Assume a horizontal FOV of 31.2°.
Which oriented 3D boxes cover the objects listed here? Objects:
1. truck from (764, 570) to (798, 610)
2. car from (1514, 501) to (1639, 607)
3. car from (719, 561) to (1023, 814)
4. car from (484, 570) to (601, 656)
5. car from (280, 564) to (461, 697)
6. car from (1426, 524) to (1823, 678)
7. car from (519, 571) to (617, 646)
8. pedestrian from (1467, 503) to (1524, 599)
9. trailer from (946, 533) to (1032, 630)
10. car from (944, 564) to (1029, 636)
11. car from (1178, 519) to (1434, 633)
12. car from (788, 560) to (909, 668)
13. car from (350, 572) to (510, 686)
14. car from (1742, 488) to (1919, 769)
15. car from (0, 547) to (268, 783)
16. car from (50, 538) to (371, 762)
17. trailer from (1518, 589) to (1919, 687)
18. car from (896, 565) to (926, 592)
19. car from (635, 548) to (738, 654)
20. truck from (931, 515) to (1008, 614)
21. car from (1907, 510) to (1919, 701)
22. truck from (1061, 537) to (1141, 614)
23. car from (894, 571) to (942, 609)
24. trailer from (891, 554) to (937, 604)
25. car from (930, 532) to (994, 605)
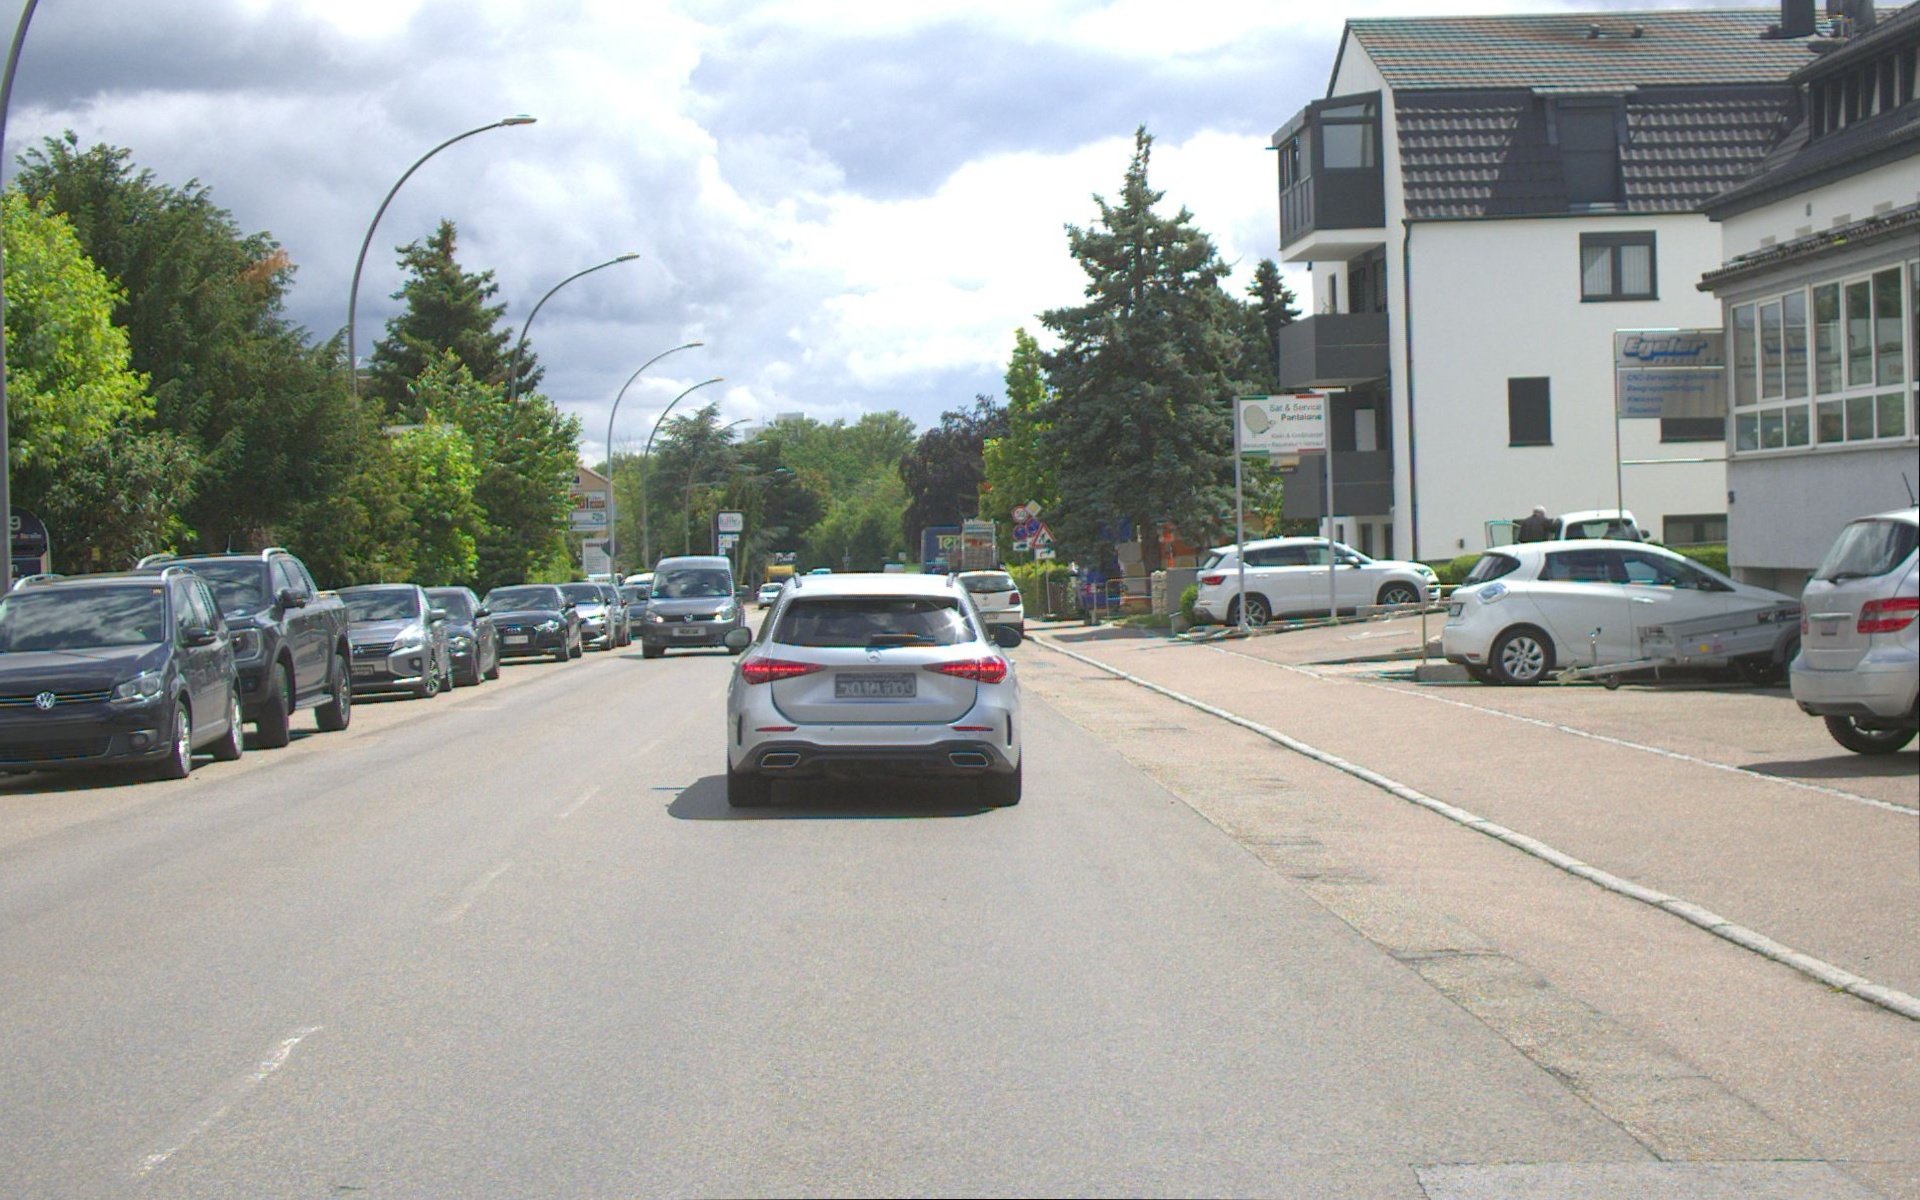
[{"bbox_3d":[-13.293,-0.768,255.327,2.075,2.804,7.078,-2,1,0],"label":"truck"},{"bbox_3d":[10.114,-0.780,56.581,1.632,1.513,3.664,-4,2,6],"label":"car"},{"bbox_3d":[-0.639,0.495,22.425,1.784,1.479,4.317,0,1,-3],"label":"car"},{"bbox_3d":[-7.522,0.203,62.217,1.662,1.409,4.339,-3,1,-2],"label":"car"},{"bbox_3d":[-7.547,0.358,44.332,1.662,1.506,3.945,-4,1,-2],"label":"car"},{"bbox_3d":[7.146,0.002,37.207,3.899,1.603,1.749,0,1,-3],"label":"car"},{"bbox_3d":[-8.145,0.158,71.771,1.719,1.427,4.200,-3,1,-3],"label":"car"},{"bbox_3d":[8.845,-0.807,56.823,0.764,1.523,0.781,-4,0,4],"label":"pedestrian"},{"bbox_3d":[0.648,-0.446,80.297,1.772,2.137,4.114,-2,1,-2],"label":"trailer"},{"bbox_3d":[0.594,-0.020,74.618,1.719,1.427,3.983,-3,1,1],"label":"car"},{"bbox_3d":[6.118,-0.436,61.037,4.191,1.648,1.867,-5,1,-2],"label":"car"},{"bbox_3d":[-1.713,0.187,52.710,1.755,1.553,4.000,-1,1,-2],"label":"car"},{"bbox_3d":[-7.546,0.376,49.280,1.662,1.430,4.339,-4,1,-2],"label":"car"},{"bbox_3d":[7.338,0.011,21.238,4.406,1.603,1.975,-4,1,-4],"label":"car"},{"bbox_3d":[-6.826,0.461,27.615,1.662,1.674,4.527,-3,1,-2],"label":"car"},{"bbox_3d":[-7.082,0.406,33.080,1.910,1.815,5.430,-5,1,-2],"label":"car"},{"bbox_3d":[7.669,0.371,34.460,3.816,0.805,1.657,-2,1,-3],"label":"trailer"},{"bbox_3d":[-3.679,-1.621,257.418,2.144,1.977,5.261,-2,0,-1],"label":"car"},{"bbox_3d":[-4.976,-0.008,63.027,1.662,1.790,4.339,-2,1,-3],"label":"car"},{"bbox_3d":[0.278,-1.149,110.925,2.320,3.086,6.043,0,0,-1],"label":"truck"},{"bbox_3d":[6.423,0.202,16.767,2.887,1.520,1.975,-4,1,-4],"label":"car"},{"bbox_3d":[4.219,-0.773,103.818,1.829,2.075,5.386,-5,2,-2],"label":"truck"},{"bbox_3d":[-1.829,-0.442,151.432,1.941,1.566,4.445,-2,1,1],"label":"car"},{"bbox_3d":[-2.199,-0.976,162.634,1.941,2.286,4.446,-2,0,-3],"label":"trailer"},{"bbox_3d":[0.050,-0.962,105.408,1.873,2.161,4.464,0,0,-1],"label":"car"}]
